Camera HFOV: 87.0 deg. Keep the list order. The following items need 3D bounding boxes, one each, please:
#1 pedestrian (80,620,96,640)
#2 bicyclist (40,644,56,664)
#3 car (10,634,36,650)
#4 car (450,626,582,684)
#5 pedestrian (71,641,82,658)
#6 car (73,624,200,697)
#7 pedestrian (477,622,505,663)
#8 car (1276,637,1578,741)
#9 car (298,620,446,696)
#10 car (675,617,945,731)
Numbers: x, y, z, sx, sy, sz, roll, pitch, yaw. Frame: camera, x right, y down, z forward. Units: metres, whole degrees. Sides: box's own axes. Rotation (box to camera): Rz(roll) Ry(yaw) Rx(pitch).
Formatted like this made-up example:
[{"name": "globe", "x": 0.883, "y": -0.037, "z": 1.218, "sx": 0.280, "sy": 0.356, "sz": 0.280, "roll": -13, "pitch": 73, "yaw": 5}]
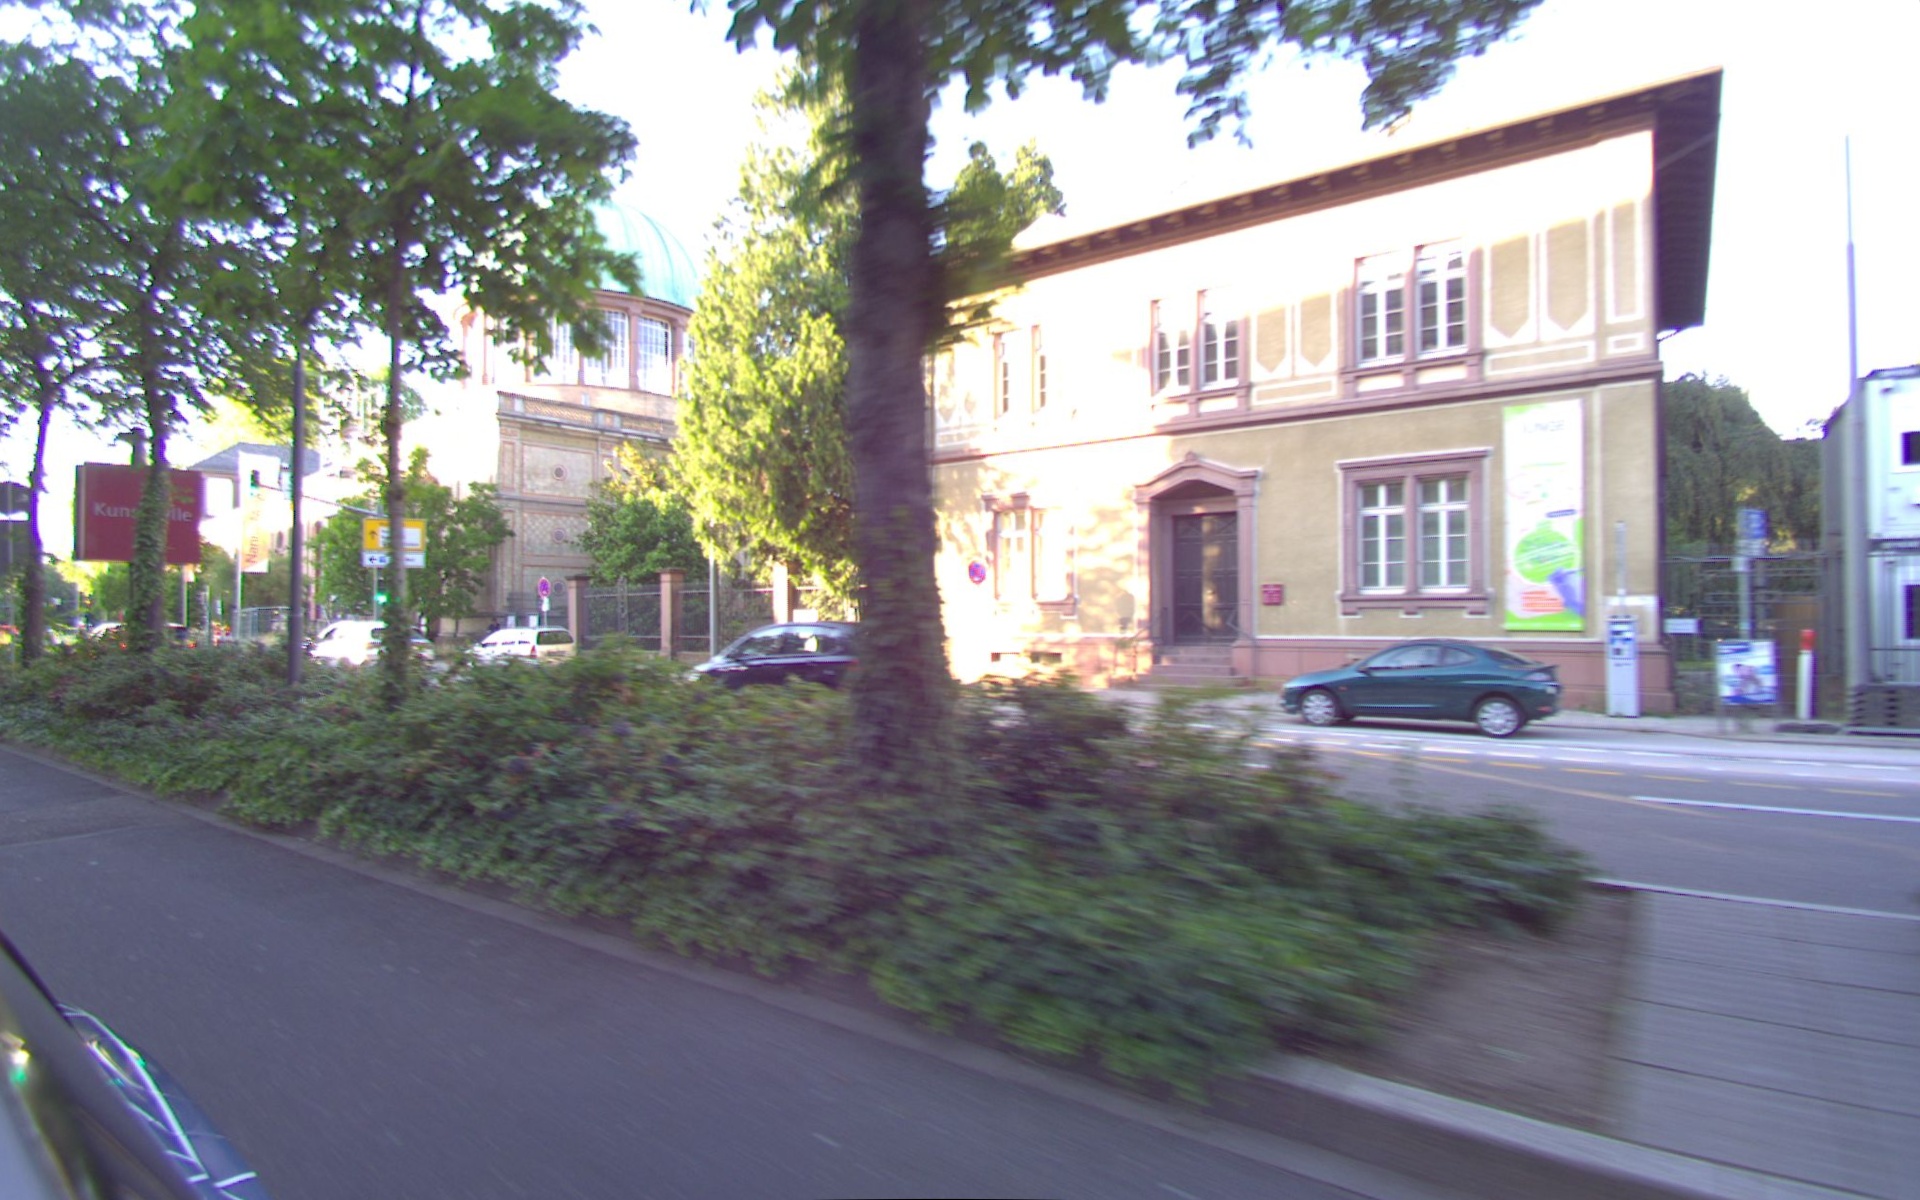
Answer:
[{"name": "pedestrian", "x": -78.734, "y": 2.704, "z": 91.373, "sx": 0.795, "sy": 1.751, "sz": 0.852, "roll": 0, "pitch": -2, "yaw": -20}, {"name": "bicyclist", "x": -69.533, "y": 4.126, "z": 77.133, "sx": 0.936, "sy": 1.471, "sz": 0.739, "roll": -2, "pitch": -4, "yaw": 39}, {"name": "car", "x": -95.705, "y": 4.288, "z": 103.376, "sx": 1.801, "sy": 1.519, "sz": 4.432, "roll": 1, "pitch": -2, "yaw": -42}, {"name": "car", "x": -13.345, "y": 1.586, "z": 30.311, "sx": 4.363, "sy": 1.559, "sz": 1.728, "roll": -1, "pitch": 0, "yaw": 37}, {"name": "pedestrian", "x": -79.662, "y": 4.462, "z": 91.255, "sx": 0.836, "sy": 1.524, "sz": 0.666, "roll": -5, "pitch": -1, "yaw": 44}, {"name": "car", "x": -19.396, "y": 1.373, "z": 23.777, "sx": 4.120, "sy": 1.559, "sz": 1.824, "roll": -2, "pitch": -3, "yaw": 44}, {"name": "pedestrian", "x": -18.397, "y": 1.674, "z": 39.707, "sx": 0.762, "sy": 1.591, "sz": 0.728, "roll": -2, "pitch": -2, "yaw": 39}, {"name": "car", "x": 6.950, "y": 1.258, "z": 15.230, "sx": 3.879, "sy": 1.361, "sz": 1.664, "roll": -1, "pitch": -3, "yaw": 36}, {"name": "car", "x": -14.540, "y": 1.395, "z": 24.926, "sx": 4.555, "sy": 1.687, "sz": 1.823, "roll": -2, "pitch": -4, "yaw": 42}, {"name": "car", "x": -2.426, "y": 1.097, "z": 15.858, "sx": 4.169, "sy": 1.563, "sz": 1.825, "roll": -2, "pitch": -4, "yaw": 38}]
